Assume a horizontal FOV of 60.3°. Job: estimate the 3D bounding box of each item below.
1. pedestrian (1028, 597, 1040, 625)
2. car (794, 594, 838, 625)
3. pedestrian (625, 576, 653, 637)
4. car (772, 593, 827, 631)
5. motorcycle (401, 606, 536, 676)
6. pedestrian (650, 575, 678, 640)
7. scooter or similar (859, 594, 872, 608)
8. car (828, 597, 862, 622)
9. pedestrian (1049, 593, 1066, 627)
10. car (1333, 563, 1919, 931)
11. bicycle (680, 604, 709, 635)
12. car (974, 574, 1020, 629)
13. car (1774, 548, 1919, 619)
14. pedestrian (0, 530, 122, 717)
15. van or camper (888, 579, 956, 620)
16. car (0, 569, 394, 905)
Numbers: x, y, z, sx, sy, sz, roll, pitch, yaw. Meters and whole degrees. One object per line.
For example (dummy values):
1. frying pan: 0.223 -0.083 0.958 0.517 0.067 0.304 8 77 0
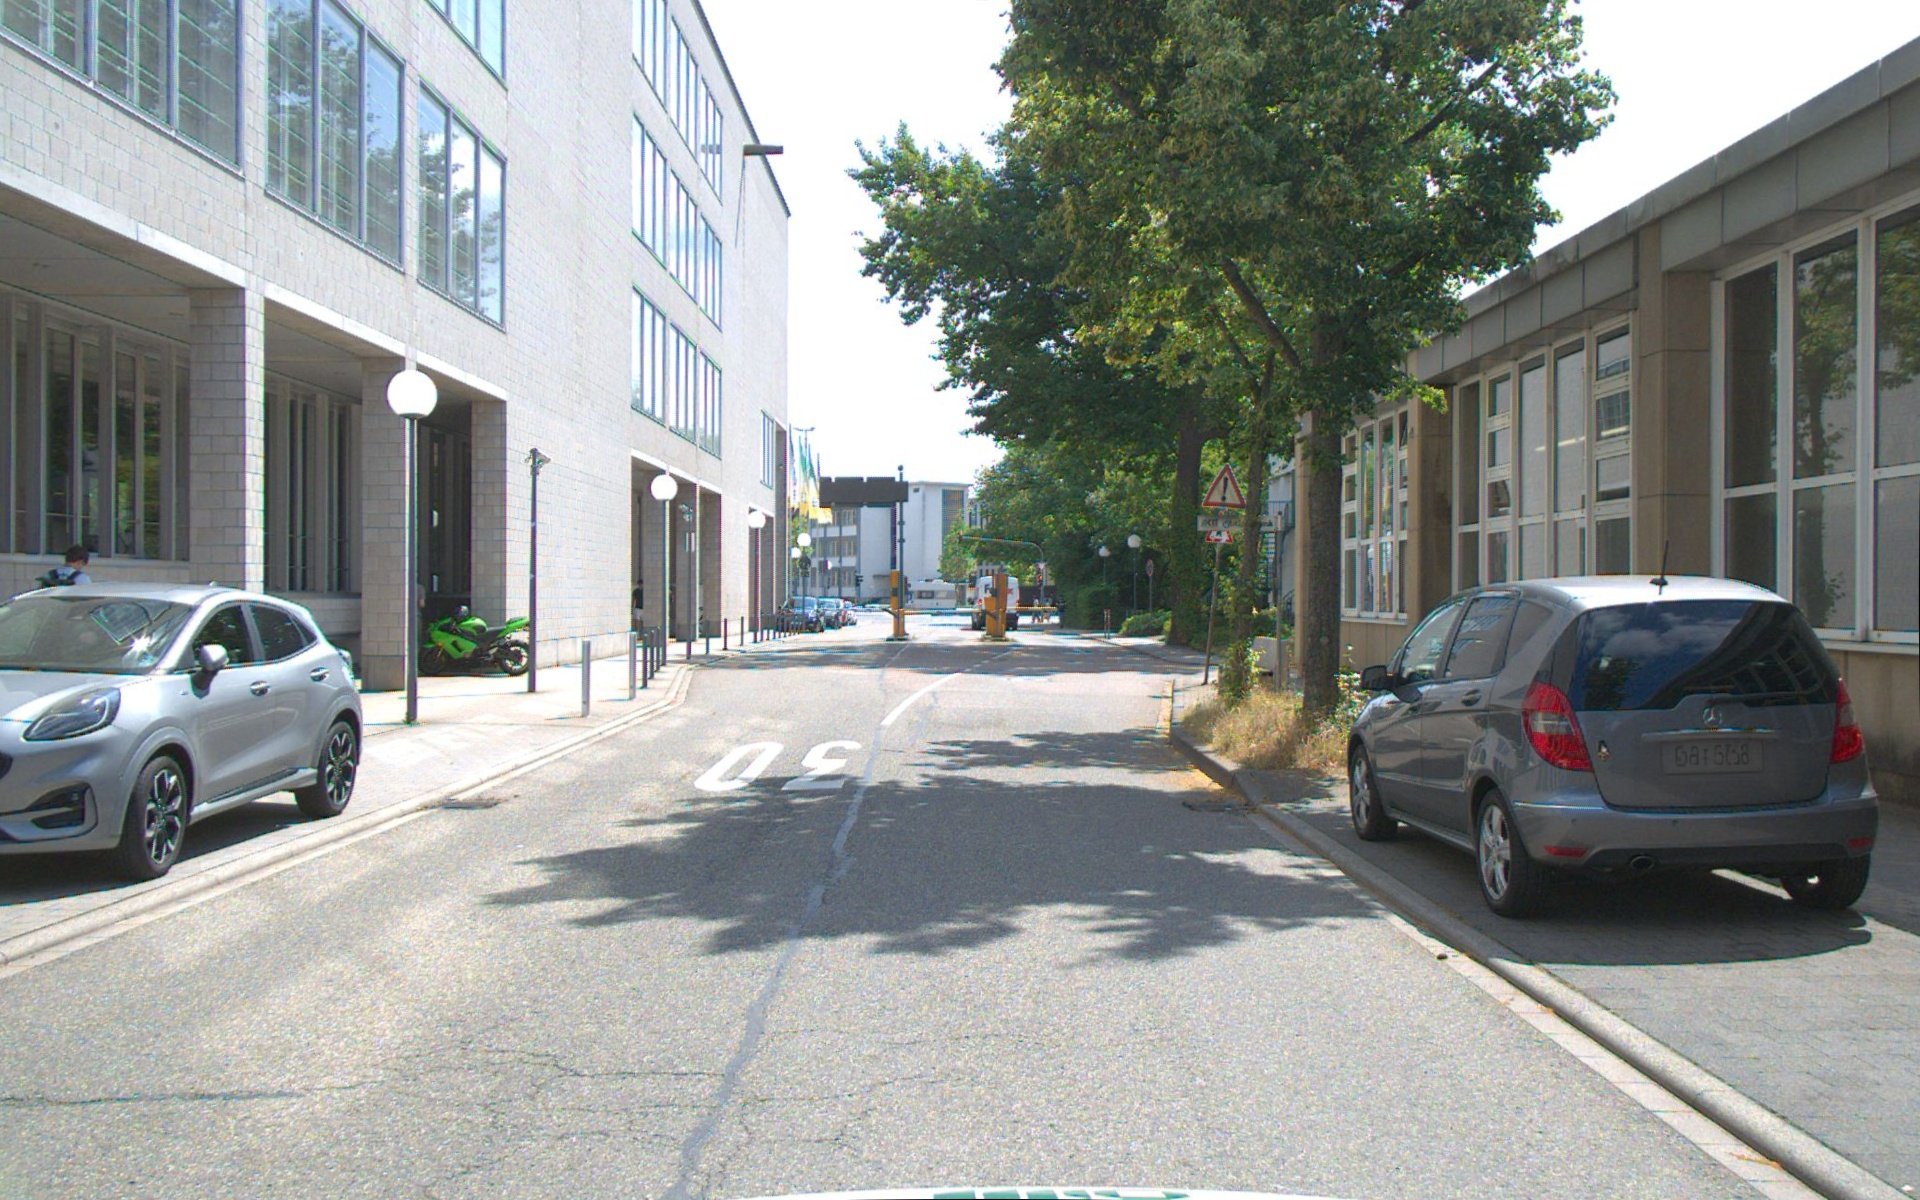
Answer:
1. pedestrian: 4.959 0.727 110.666 0.751 1.892 0.722 0 0 1
2. car: -7.111 0.465 82.037 1.822 1.402 5.014 2 0 -2
3. pedestrian: -10.154 0.212 52.366 0.716 1.913 0.720 1 0 0
4. car: -6.731 0.494 69.768 1.821 1.493 4.718 2 0 -1
5. motorcycle: -8.487 0.702 28.641 2.126 1.158 0.773 1 0 -11
6. pedestrian: -9.374 0.237 52.395 0.684 2.049 0.830 1 0 0
7. scooter or similar: -8.191 0.098 143.297 0.703 1.199 2.718 0 0 -11
8. car: -6.798 0.550 97.982 1.642 1.419 4.662 2 0 0
9. pedestrian: 5.024 0.520 85.265 0.724 1.704 1.255 0 0 -4
10. car: 3.407 0.644 9.228 1.720 1.596 3.817 -1 0 -1
11. bicycle: -9.479 0.686 59.032 0.814 1.088 2.469 1 0 -5
12. car: 1.771 0.072 81.216 2.052 2.611 5.601 0 0 -1
13. car: 20.955 -0.370 38.943 1.593 1.580 3.621 0 0 -4
14. pedestrian: -9.343 0.233 17.159 0.761 1.871 1.014 1 0 -1
15. van or camper: -3.143 -0.016 137.060 5.597 3.316 2.354 0 0 -3
16. car: -5.038 0.639 9.953 1.691 1.562 4.405 2 -1 0
